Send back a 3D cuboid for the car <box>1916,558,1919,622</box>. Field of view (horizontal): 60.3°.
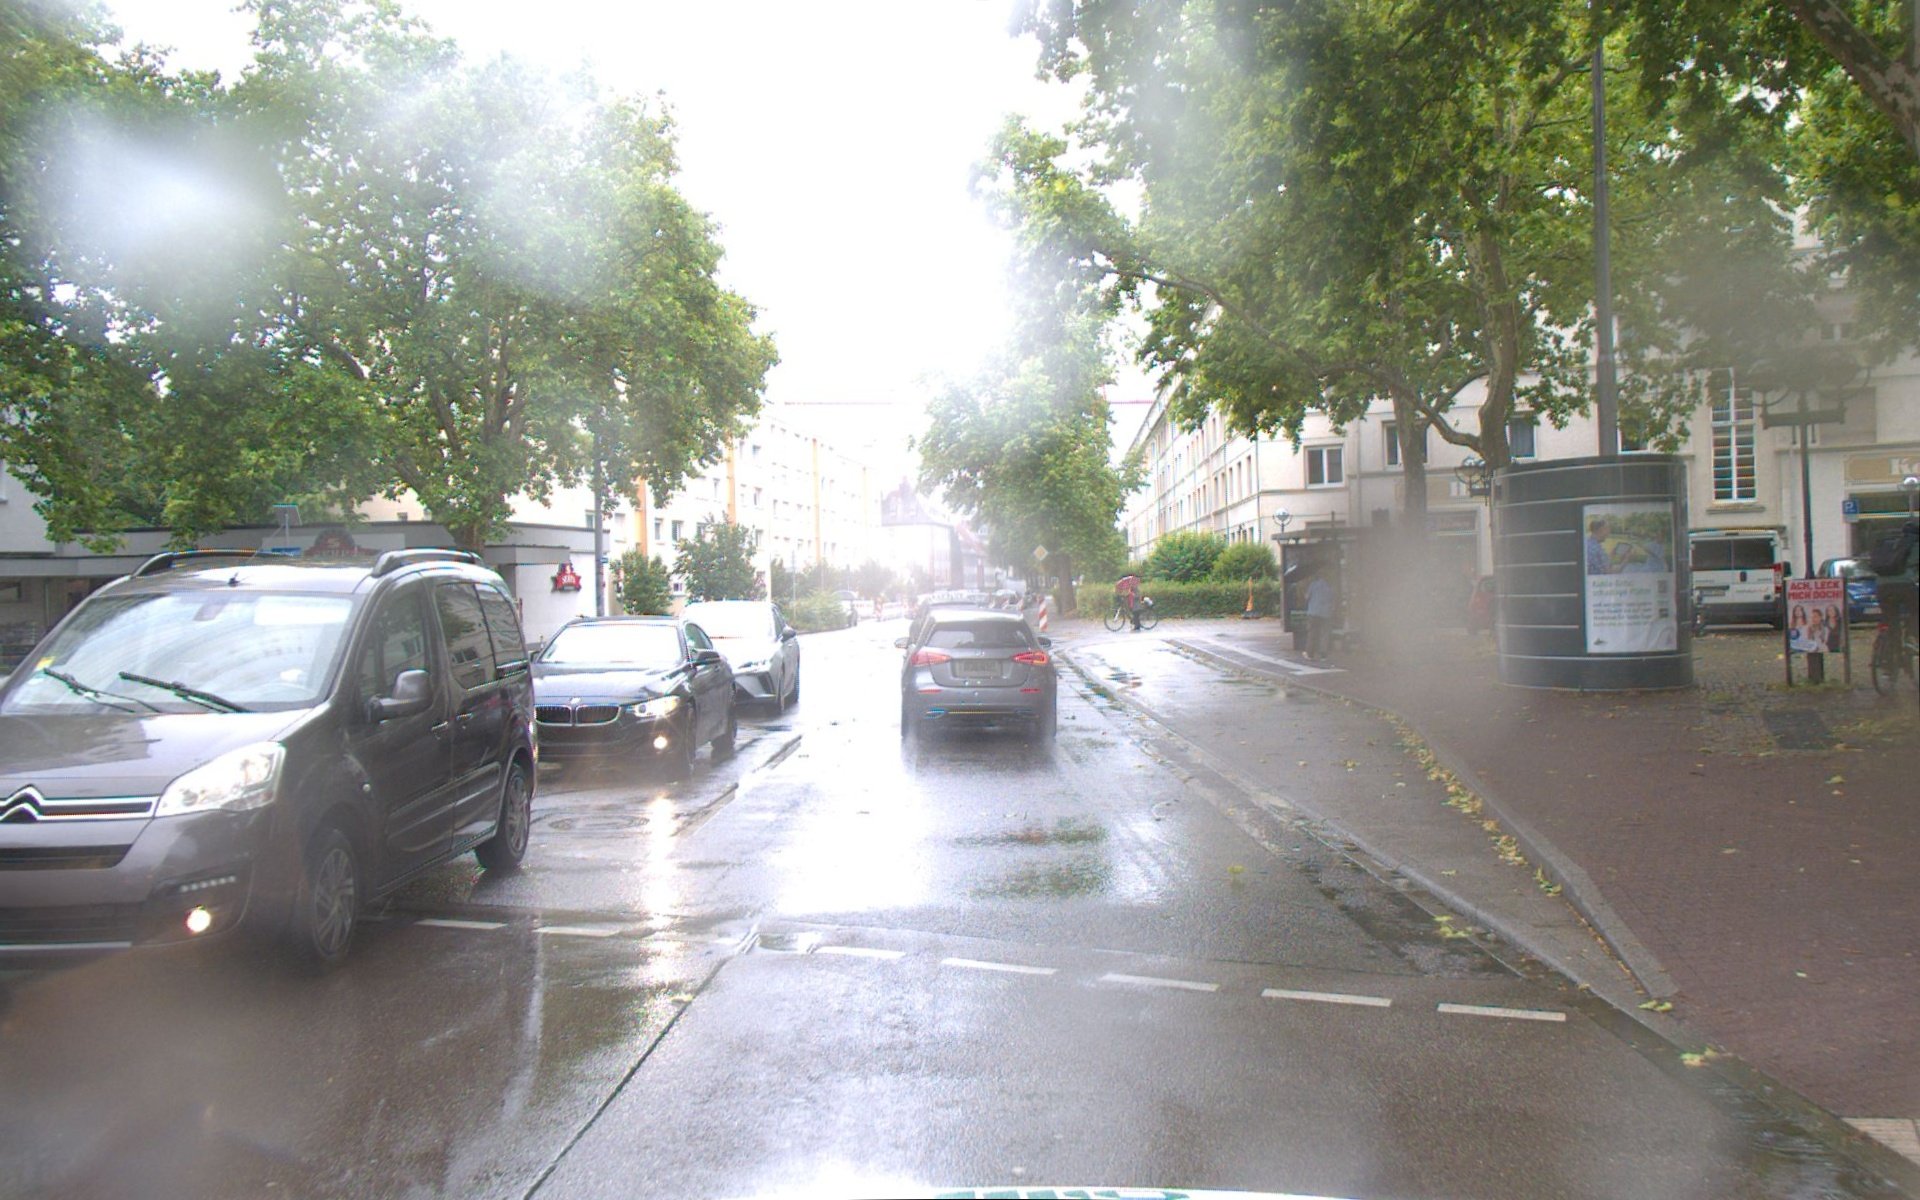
[{"bbox_3d":[22.533,-0.280,36.981,1.646,1.457,3.732,-2,-2,25],"label":"car"}]

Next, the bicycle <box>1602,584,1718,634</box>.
[{"bbox_3d":[14.832,0.198,35.078,2.206,0.985,0.534,-2,0,23],"label":"bicycle"}]

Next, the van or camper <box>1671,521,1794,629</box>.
[{"bbox_3d":[18.044,-0.580,38.472,2.350,2.270,5.424,-2,0,27],"label":"van or camper"}]

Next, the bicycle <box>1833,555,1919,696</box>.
[{"bbox_3d":[10.283,0.234,18.080,0.737,1.401,2.694,-3,1,39],"label":"bicycle"}]

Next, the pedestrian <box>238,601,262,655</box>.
[{"bbox_3d":[-22.085,0.876,51.446,0.560,1.657,0.639,-2,0,-15],"label":"pedestrian"}]

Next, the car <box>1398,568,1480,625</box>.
[{"bbox_3d":[14.913,-0.141,51.362,1.953,1.656,4.630,1,1,22],"label":"car"}]

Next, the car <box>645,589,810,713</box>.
[{"bbox_3d":[-3.205,0.651,23.533,1.808,1.536,4.054,-2,0,-1],"label":"car"}]

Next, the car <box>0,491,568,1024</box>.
[{"bbox_3d":[-3.320,0.570,8.052,1.770,1.894,4.109,-2,0,0],"label":"car"}]

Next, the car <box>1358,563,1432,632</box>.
[{"bbox_3d":[10.853,-0.020,41.286,1.652,1.578,3.525,-2,-2,15],"label":"car"}]

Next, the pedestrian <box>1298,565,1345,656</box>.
[{"bbox_3d":[6.913,0.200,31.648,0.702,1.698,0.665,-2,0,0],"label":"pedestrian"}]

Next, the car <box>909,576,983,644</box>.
[{"bbox_3d":[-0.317,0.201,38.329,1.574,1.396,4.000,-3,1,0],"label":"car"}]

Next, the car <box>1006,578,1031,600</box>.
[{"bbox_3d":[5.301,-1.007,149.534,2.004,1.868,4.794,-2,0,3],"label":"car"}]

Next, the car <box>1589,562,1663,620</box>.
[{"bbox_3d":[19.993,-0.309,49.687,1.953,1.656,4.630,1,1,22],"label":"car"}]

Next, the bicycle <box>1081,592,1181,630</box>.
[{"bbox_3d":[5.701,0.370,55.047,3.157,1.131,1.048,-2,0,-19],"label":"bicycle"}]

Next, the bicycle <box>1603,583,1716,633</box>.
[{"bbox_3d":[15.078,0.173,35.710,2.201,0.985,0.585,-2,0,23],"label":"bicycle"}]

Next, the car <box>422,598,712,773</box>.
[{"bbox_3d":[-3.566,0.717,15.813,1.707,1.414,4.362,-1,0,0],"label":"car"}]

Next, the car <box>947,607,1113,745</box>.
[{"bbox_3d":[0.740,0.819,19.444,1.754,1.396,3.506,-1,1,0],"label":"car"}]

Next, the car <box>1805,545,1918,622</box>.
[{"bbox_3d":[20.278,-0.359,37.324,1.644,1.602,3.737,-2,0,20],"label":"car"}]

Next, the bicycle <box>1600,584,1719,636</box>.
[{"bbox_3d":[14.565,0.206,34.483,2.235,1.000,0.545,-2,0,23],"label":"bicycle"}]

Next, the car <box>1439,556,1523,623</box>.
[{"bbox_3d":[12.780,-0.225,40.709,1.492,1.482,3.392,-2,-2,10],"label":"car"}]

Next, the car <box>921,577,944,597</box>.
[{"bbox_3d":[-2.595,-1.226,157.143,1.850,1.868,4.002,-2,0,3],"label":"car"}]

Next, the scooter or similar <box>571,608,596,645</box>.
[{"bbox_3d":[-13.558,0.955,59.586,0.428,1.288,1.376,-2,0,7],"label":"scooter or similar"}]

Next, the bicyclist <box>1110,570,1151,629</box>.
[{"bbox_3d":[5.657,-0.012,54.982,0.924,1.901,1.136,-2,0,-19],"label":"bicyclist"}]

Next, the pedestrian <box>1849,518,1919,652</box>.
[{"bbox_3d":[10.321,-0.174,18.159,0.733,1.422,1.042,-3,0,40],"label":"pedestrian"}]
